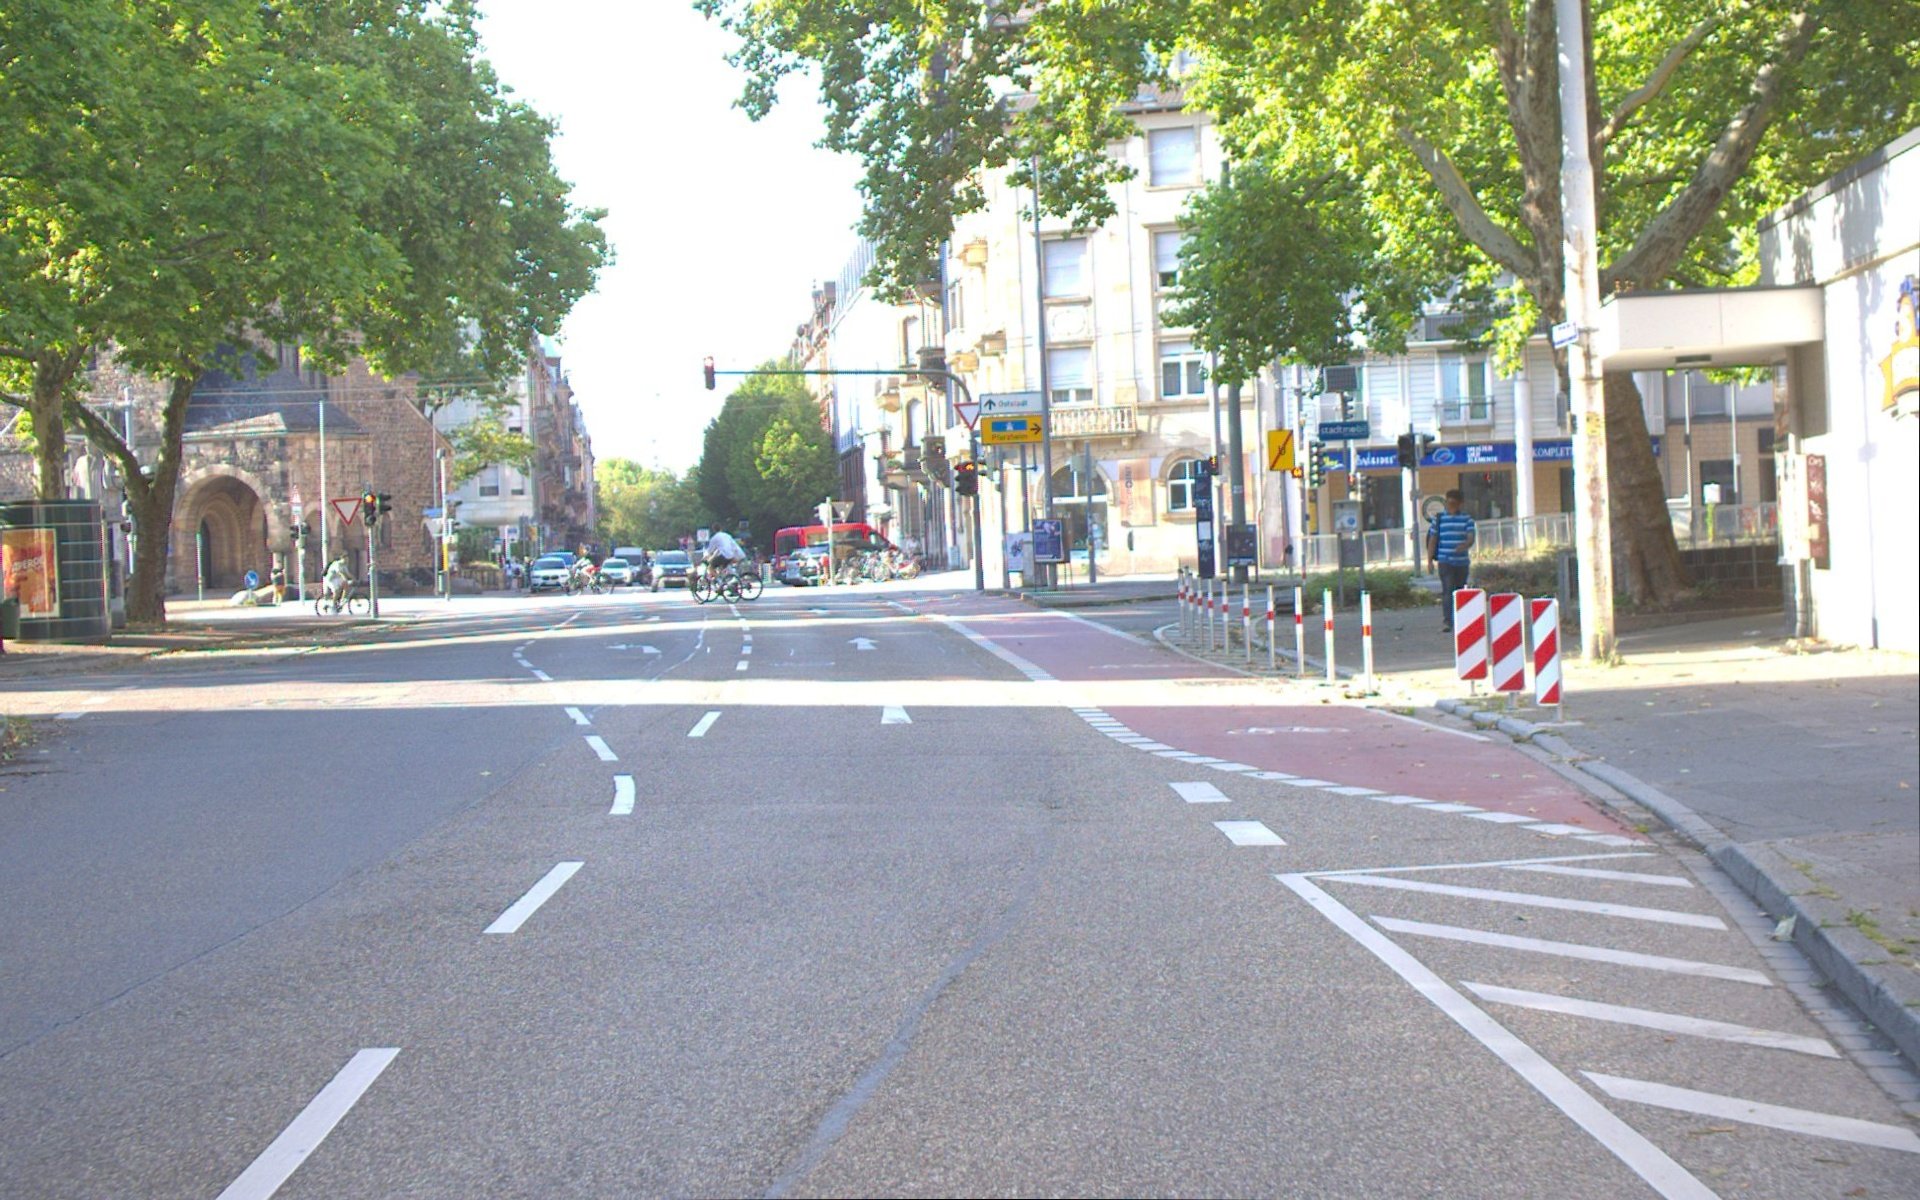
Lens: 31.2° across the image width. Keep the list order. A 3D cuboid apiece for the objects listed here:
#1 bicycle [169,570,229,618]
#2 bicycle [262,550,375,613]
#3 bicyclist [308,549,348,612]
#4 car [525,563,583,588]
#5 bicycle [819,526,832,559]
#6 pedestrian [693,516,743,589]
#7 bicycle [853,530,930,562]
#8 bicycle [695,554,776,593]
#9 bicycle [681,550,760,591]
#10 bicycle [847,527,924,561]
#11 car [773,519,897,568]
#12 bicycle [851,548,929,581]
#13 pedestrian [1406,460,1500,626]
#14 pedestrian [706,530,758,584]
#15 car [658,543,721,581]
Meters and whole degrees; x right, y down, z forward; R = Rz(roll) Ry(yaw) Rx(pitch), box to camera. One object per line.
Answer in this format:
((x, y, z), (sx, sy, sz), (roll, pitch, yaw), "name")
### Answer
((-28.141, -0.212, 127.225), (1.286, 1.744, 4.000), (0, 0, 0), "bicycle")
((-17.049, -0.485, 91.407), (2.842, 1.650, 0.830), (0, 0, 8), "bicycle")
((-16.777, -0.519, 91.319), (0.802, 1.651, 0.934), (0, 0, 7), "bicyclist")
((-18.951, -1.156, 160.561), (1.595, 1.140, 3.382), (0, 0, 14), "car")
((-5.024, -2.129, 128.348), (0.508, 1.199, 2.092), (0, 0, -2), "bicycle")
((-5.723, -1.124, 81.410), (0.993, 1.702, 0.627), (0, 0, 29), "pedestrian")
((-2.536, -2.000, 127.122), (2.802, 1.199, 0.517), (0, 0, -7), "bicycle")
((-5.438, -0.645, 83.215), (1.783, 0.892, 0.750), (-2, 1, 17), "bicycle")
((-5.677, -0.693, 81.397), (1.786, 0.978, 0.656), (0, 0, 28), "bicycle")
((-2.781, -2.085, 127.763), (2.802, 1.199, 0.510), (0, 9, -7), "bicycle")
((-5.305, -2.391, 146.071), (4.988, 2.007, 2.166), (0, 0, -40), "car")
((-2.570, -1.282, 125.748), (2.802, 1.199, 0.510), (0, 0, -7), "bicycle")
((6.233, -0.714, 43.538), (0.827, 2.007, 1.153), (-5, 0, -1), "pedestrian")
((-5.512, -1.036, 83.234), (1.049, 1.273, 0.791), (0, 0, 17), "pedestrian")
((-10.588, -1.470, 134.642), (1.587, 1.457, 3.181), (0, 0, 13), "car")
